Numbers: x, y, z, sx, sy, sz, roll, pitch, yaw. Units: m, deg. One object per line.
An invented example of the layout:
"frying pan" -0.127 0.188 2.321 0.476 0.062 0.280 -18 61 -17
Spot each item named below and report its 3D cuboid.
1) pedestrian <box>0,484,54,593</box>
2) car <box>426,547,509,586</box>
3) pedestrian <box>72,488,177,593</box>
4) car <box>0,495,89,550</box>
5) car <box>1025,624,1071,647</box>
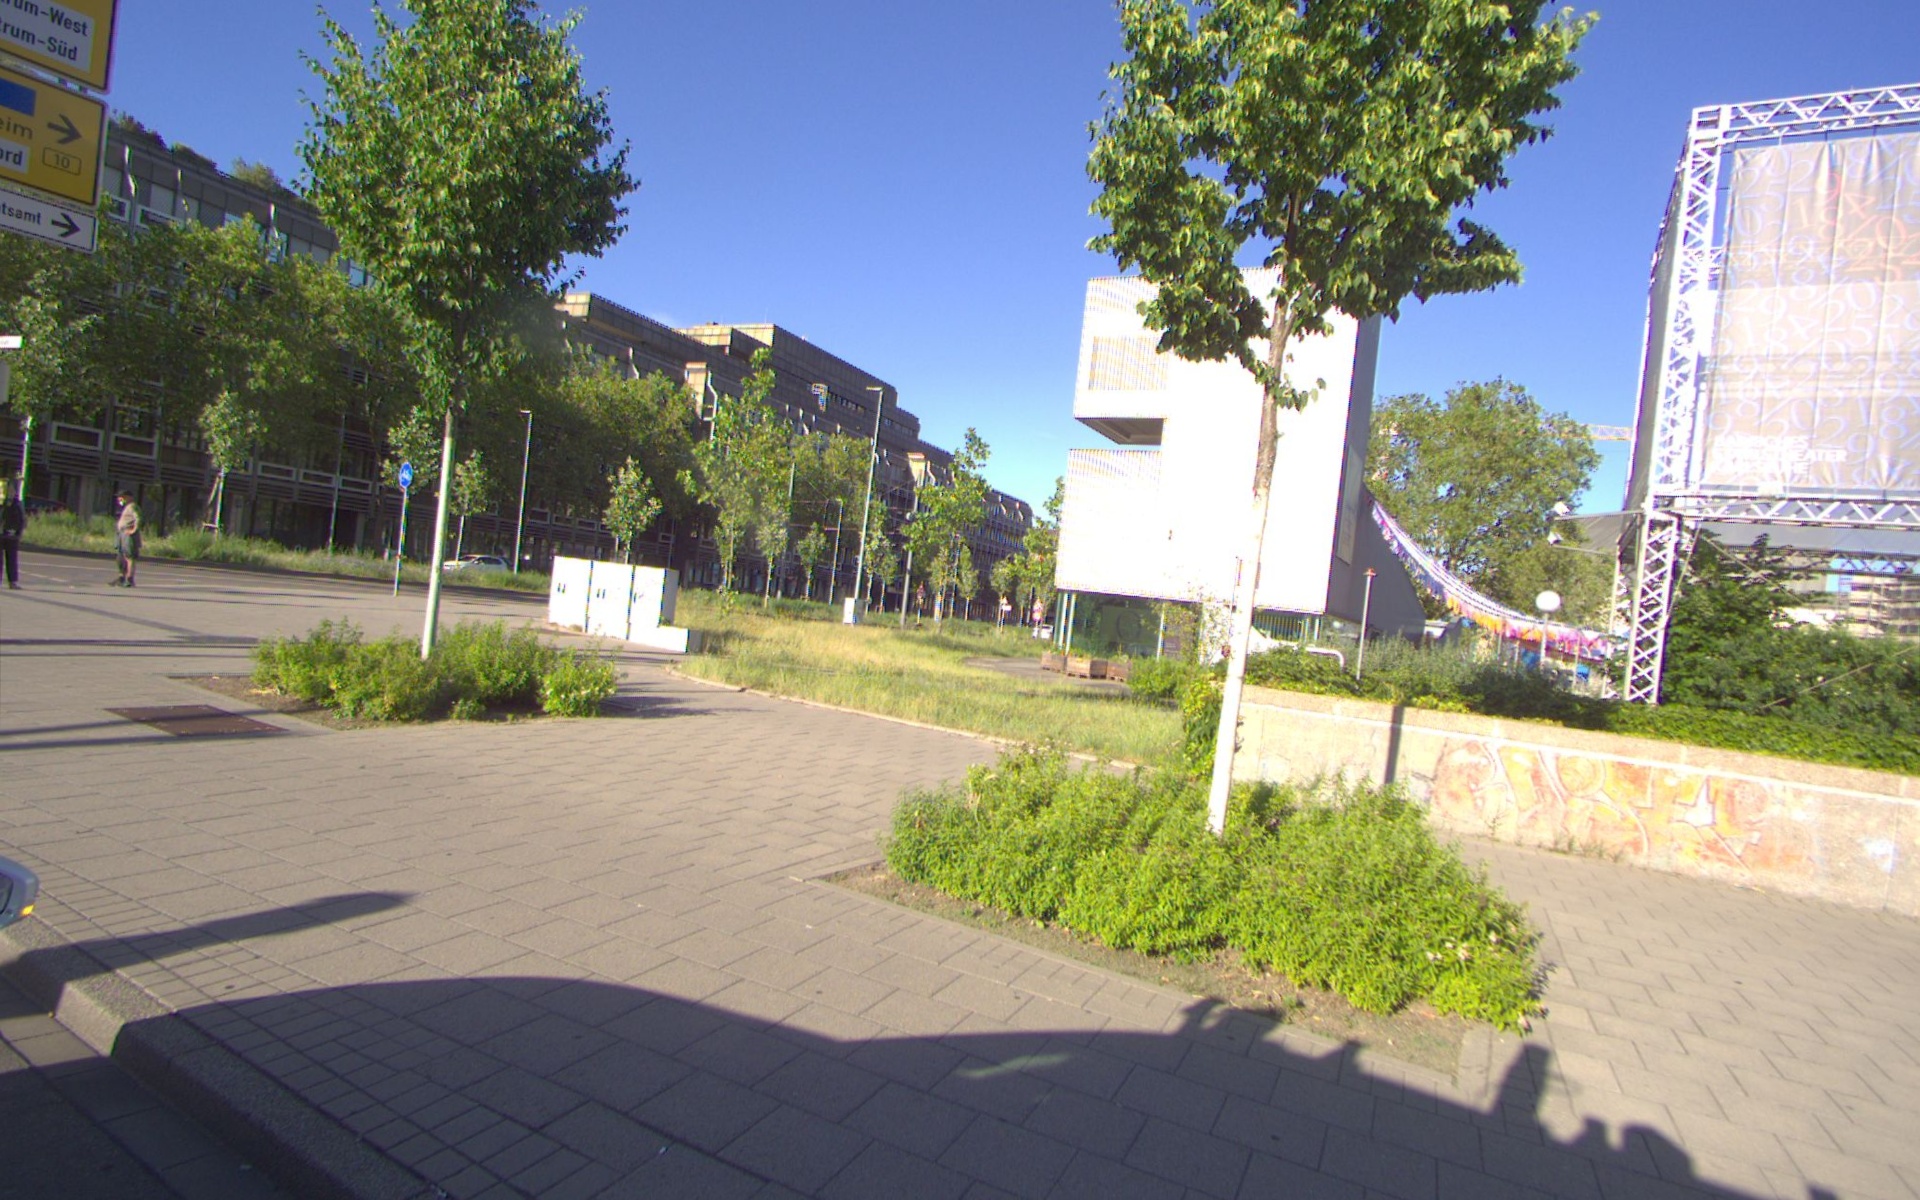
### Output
"pedestrian" -14.046 -0.921 14.789 0.633 1.510 0.789 6 -1 31
"car" -27.846 -1.852 56.996 1.630 1.603 3.912 7 -2 25
"pedestrian" -14.887 -1.044 17.940 0.946 1.684 0.882 7 -1 11
"car" -33.297 -2.823 35.185 1.629 1.604 3.896 6 -1 24
"car" 7.017 2.814 79.737 1.820 1.437 4.956 7 -1 26
